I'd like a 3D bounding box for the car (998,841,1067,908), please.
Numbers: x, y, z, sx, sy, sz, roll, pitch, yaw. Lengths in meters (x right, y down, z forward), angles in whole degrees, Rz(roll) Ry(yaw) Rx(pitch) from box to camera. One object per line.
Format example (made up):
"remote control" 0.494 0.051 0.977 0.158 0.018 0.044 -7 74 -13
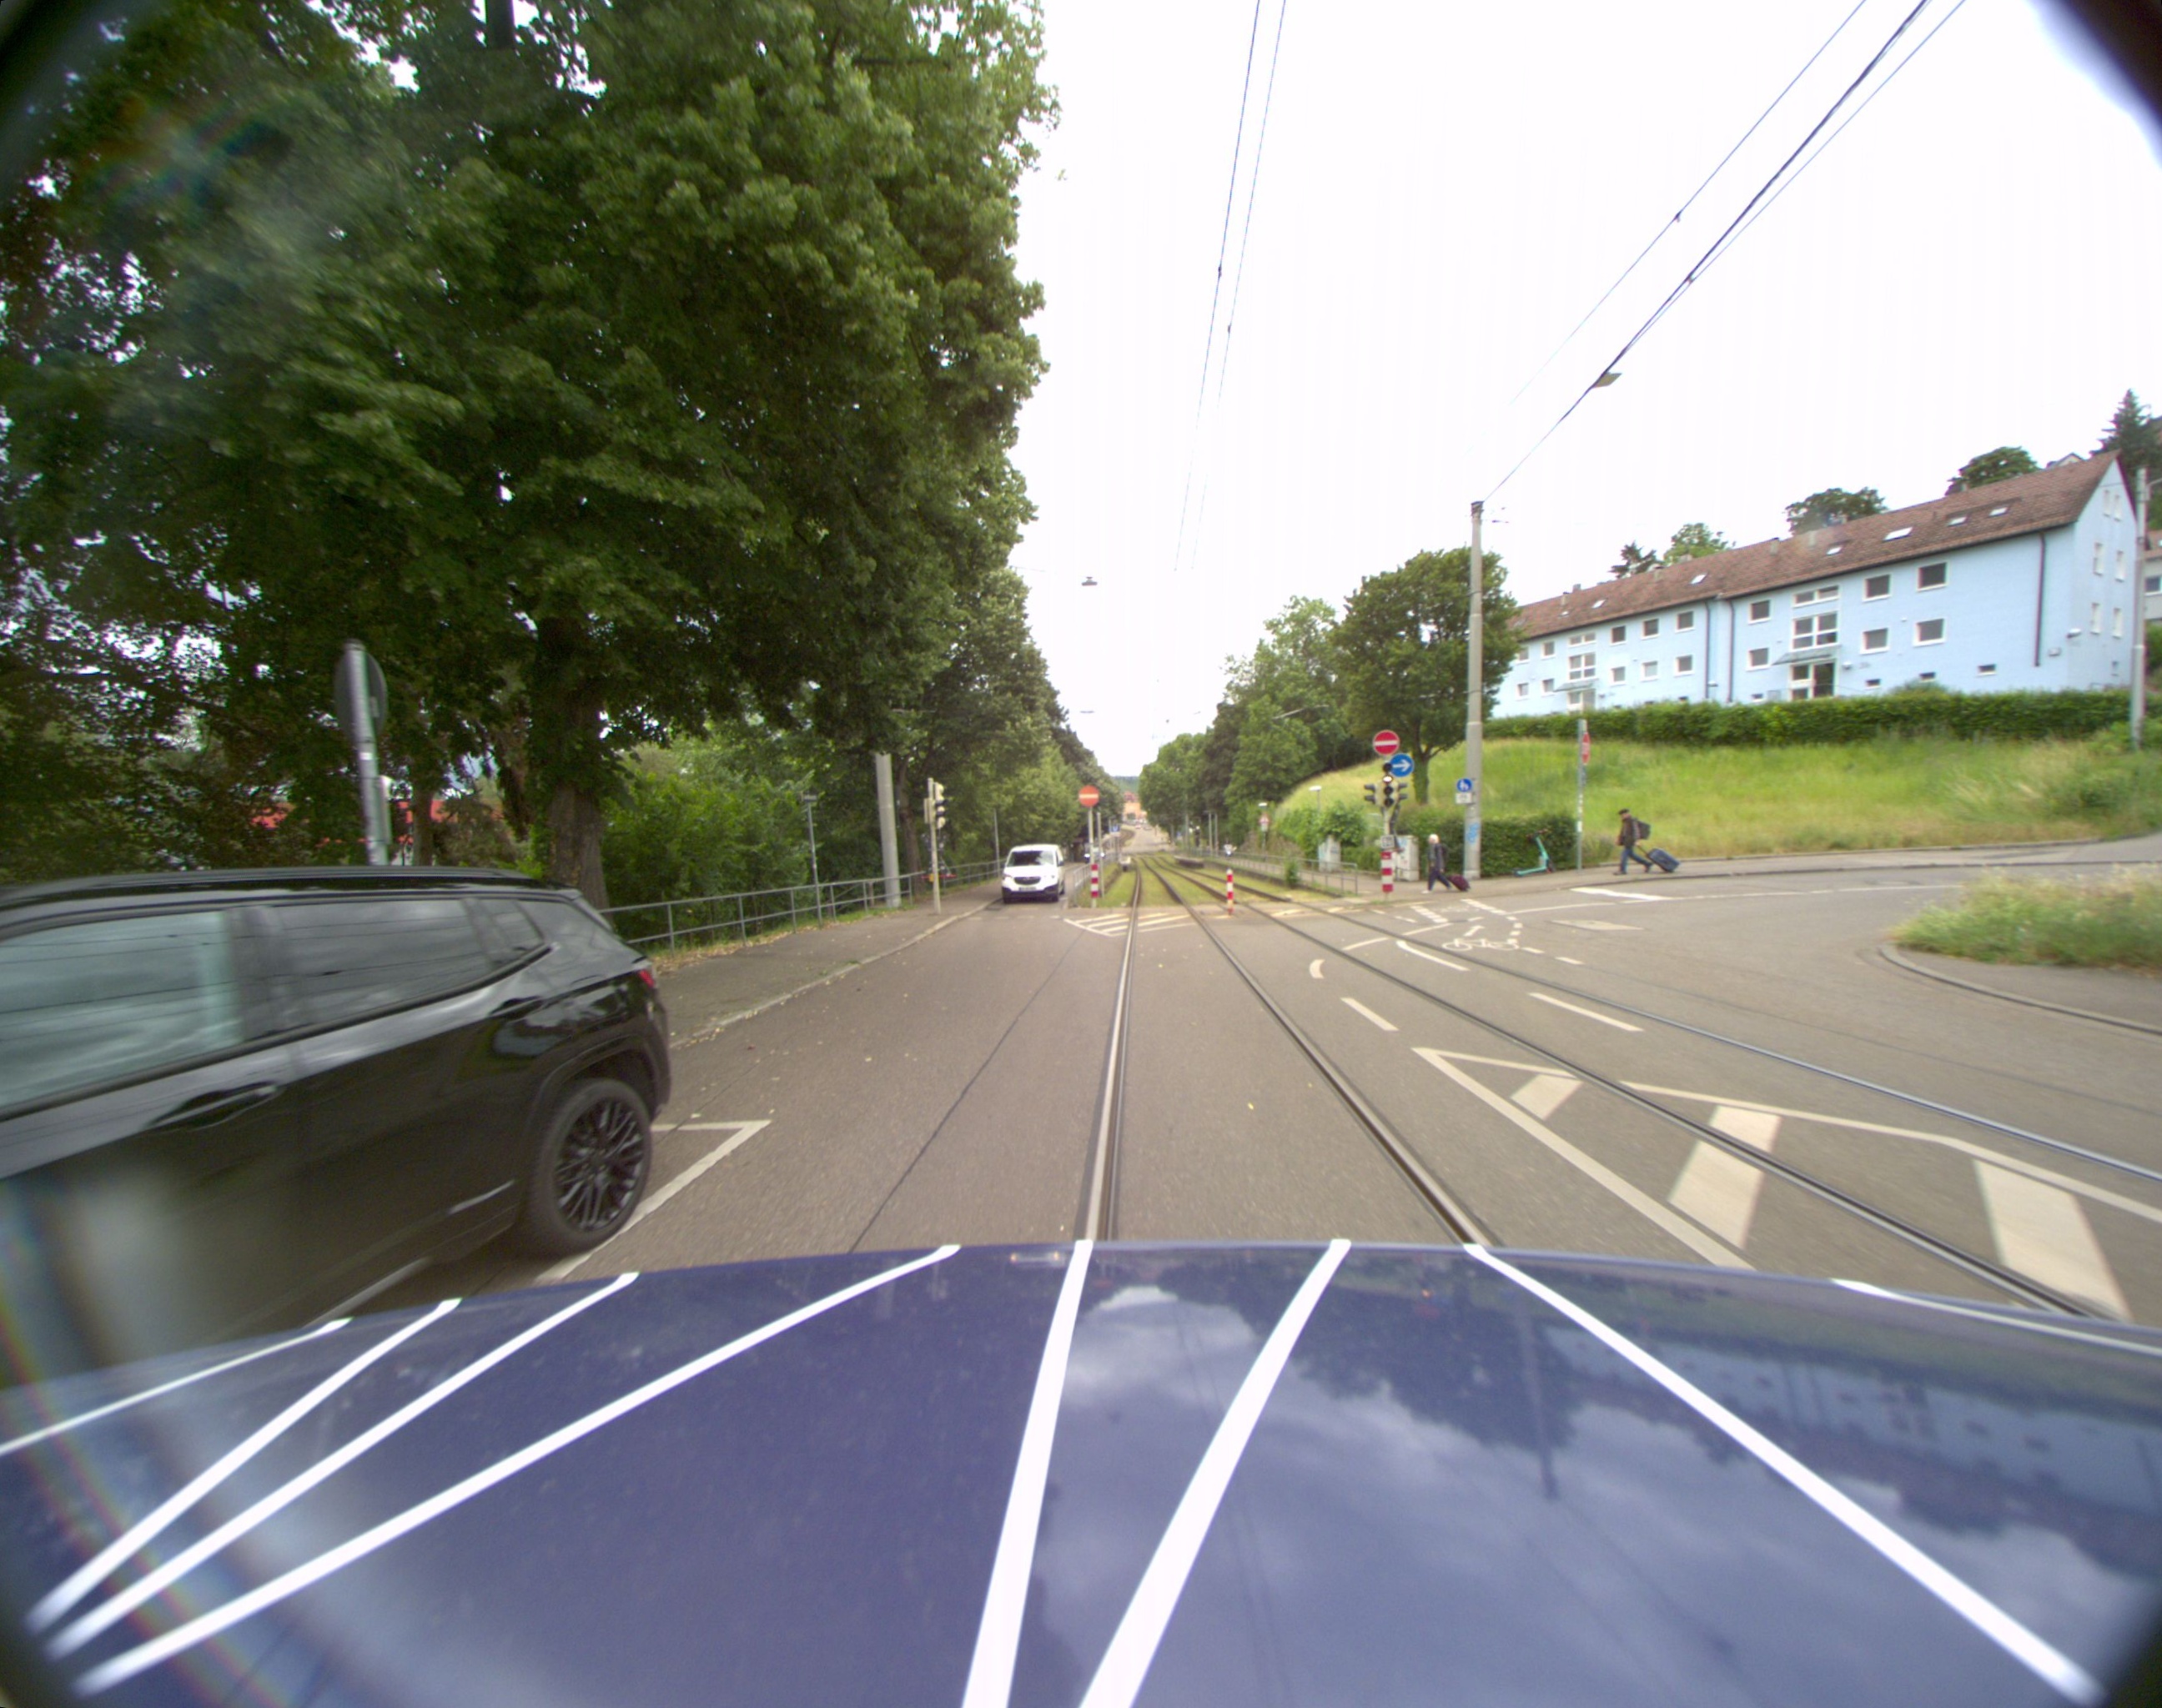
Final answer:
"car" -1.514 0.597 25.388 1.810 1.910 4.477 -3 1 2

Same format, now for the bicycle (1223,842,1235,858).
"bicycle" 11.951 -0.296 61.294 0.752 1.232 2.868 -4 0 8

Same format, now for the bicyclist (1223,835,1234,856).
"bicyclist" 12.020 -0.674 61.936 0.706 1.619 1.033 -3 0 7

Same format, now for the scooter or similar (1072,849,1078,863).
"scooter or similar" -0.619 0.242 79.088 0.431 1.377 1.455 -3 2 4

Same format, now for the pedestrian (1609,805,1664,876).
"pedestrian" 14.224 -0.337 19.475 0.900 1.740 0.743 -2 2 18

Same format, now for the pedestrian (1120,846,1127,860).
"pedestrian" 4.737 -0.131 84.364 0.738 1.493 0.627 -3 0 5

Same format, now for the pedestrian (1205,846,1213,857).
"pedestrian" 16.445 -0.307 97.983 0.823 1.315 0.774 -3 2 -2

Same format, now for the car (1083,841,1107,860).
"car" 1.304 -0.351 70.205 1.998 1.543 4.000 -3 1 3

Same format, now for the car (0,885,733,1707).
"car" -3.088 1.054 1.859 1.908 1.605 4.601 -4 1 5

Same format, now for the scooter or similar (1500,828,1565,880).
"scooter or similar" 12.535 -0.015 21.126 1.412 1.282 0.418 -7 2 5

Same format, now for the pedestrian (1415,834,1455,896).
"pedestrian" 9.360 0.281 20.113 0.752 1.565 0.757 -3 2 11
